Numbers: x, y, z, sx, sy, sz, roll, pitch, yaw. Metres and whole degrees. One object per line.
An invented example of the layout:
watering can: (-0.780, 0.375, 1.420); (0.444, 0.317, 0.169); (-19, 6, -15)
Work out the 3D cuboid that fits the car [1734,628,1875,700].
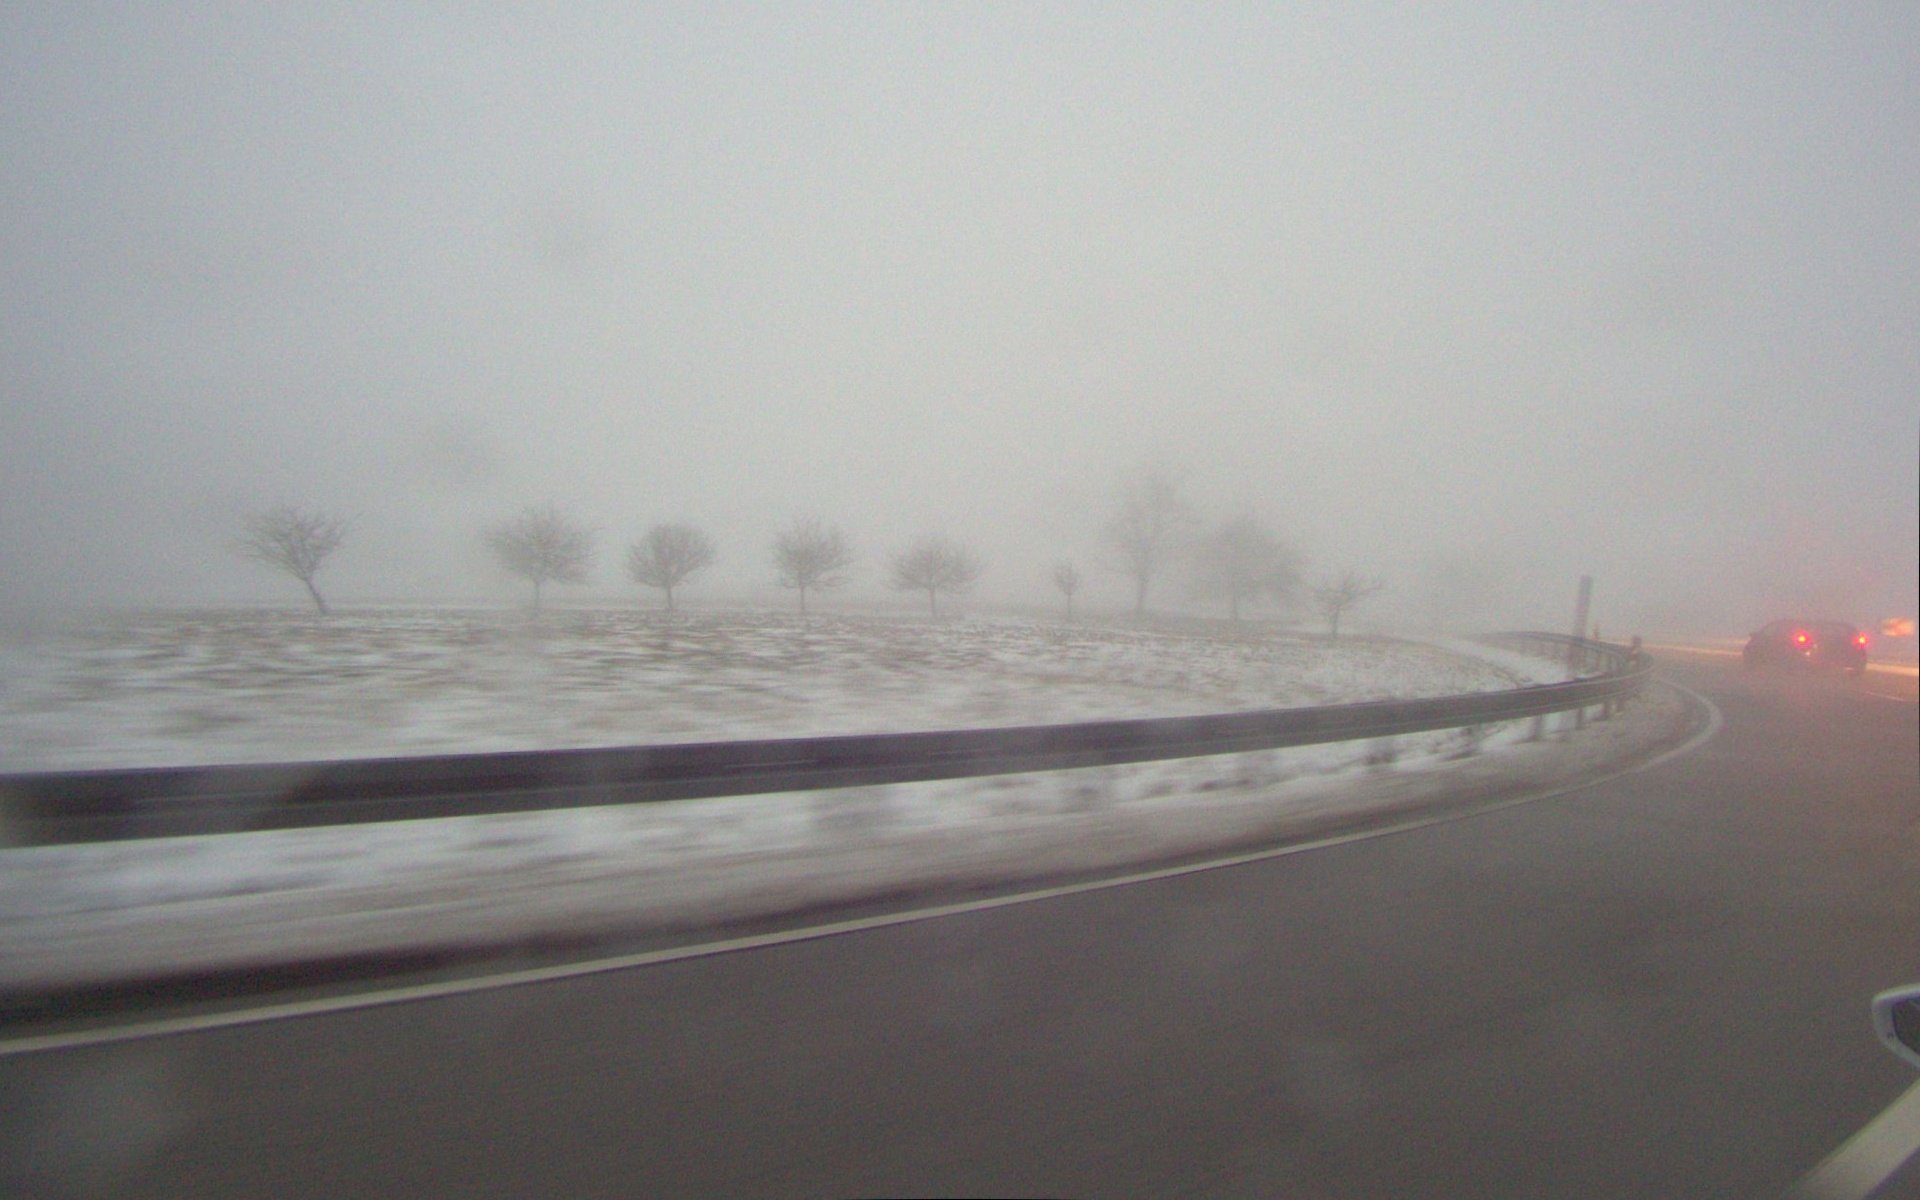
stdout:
car: (23.242, 1.695, 27.836); (1.962, 1.806, 3.998); (0, -2, 24)
